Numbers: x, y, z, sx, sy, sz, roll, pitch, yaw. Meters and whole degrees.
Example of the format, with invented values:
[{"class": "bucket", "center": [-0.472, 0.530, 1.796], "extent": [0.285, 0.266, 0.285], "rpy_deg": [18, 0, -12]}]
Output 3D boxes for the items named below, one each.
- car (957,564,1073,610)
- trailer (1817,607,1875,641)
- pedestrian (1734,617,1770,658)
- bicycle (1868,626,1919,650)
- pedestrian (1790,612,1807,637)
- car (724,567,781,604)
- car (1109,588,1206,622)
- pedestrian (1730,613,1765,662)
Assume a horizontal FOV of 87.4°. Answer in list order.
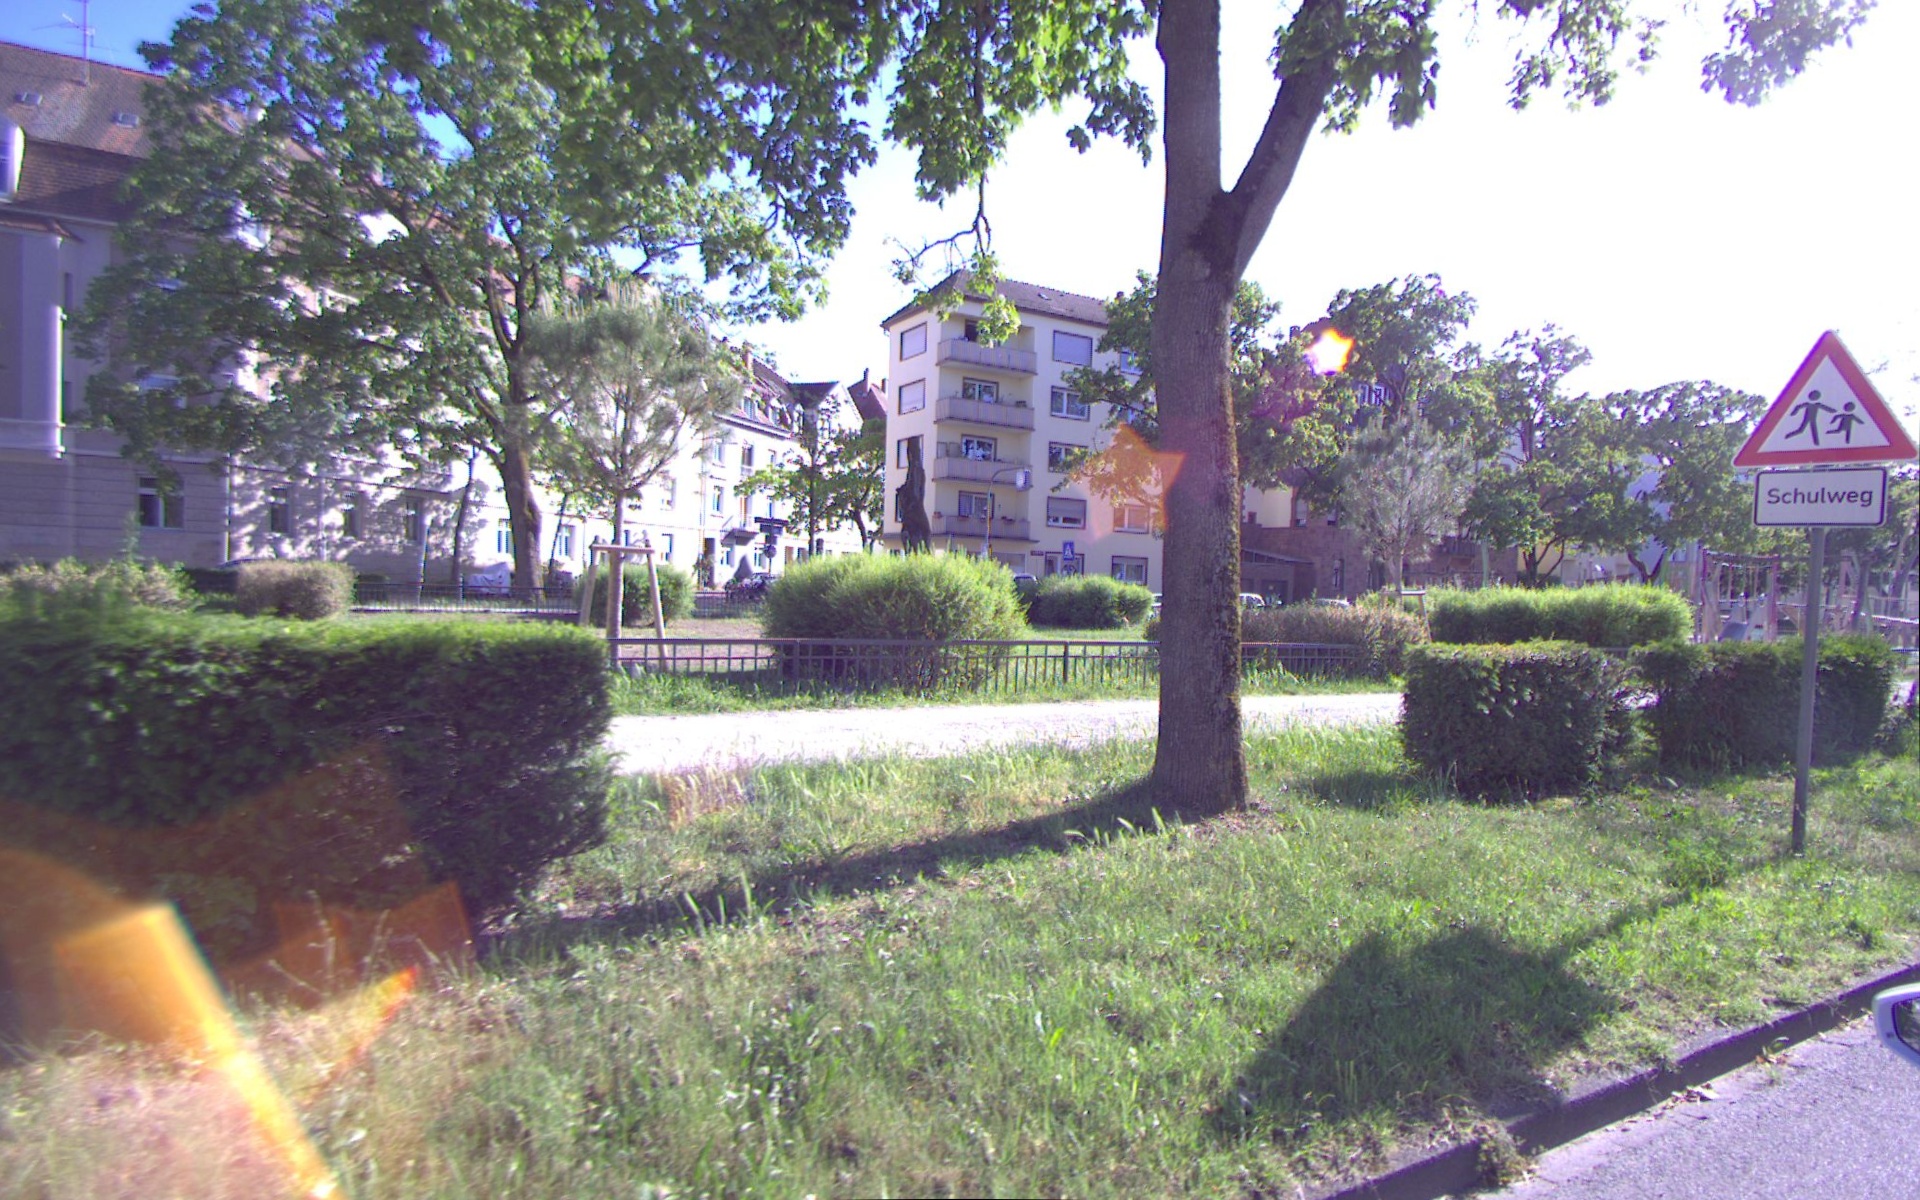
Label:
[{"class": "car", "center": [2.294, -0.536, 41.603], "extent": [4.533, 1.657, 1.785], "rpy_deg": [2, 2, -30]}, {"class": "trailer", "center": [82.937, 2.232, 94.015], "extent": [5.736, 2.909, 2.331], "rpy_deg": [2, 2, -31]}, {"class": "pedestrian", "center": [27.145, 1.285, 34.449], "extent": [0.639, 1.347, 0.648], "rpy_deg": [2, 2, -12]}, {"class": "bicycle", "center": [47.361, 1.922, 50.970], "extent": [0.494, 1.122, 1.785], "rpy_deg": [1, 2, -31]}, {"class": "pedestrian", "center": [57.271, 1.670, 68.599], "extent": [0.642, 1.683, 0.645], "rpy_deg": [2, 1, -30]}, {"class": "car", "center": [-9.723, -0.711, 46.912], "extent": [1.775, 1.530, 3.976], "rpy_deg": [2, 2, -23]}, {"class": "car", "center": [9.993, 0.257, 50.659], "extent": [4.710, 1.530, 1.896], "rpy_deg": [2, 2, -31]}, {"class": "pedestrian", "center": [28.011, 1.343, 35.740], "extent": [0.639, 1.683, 0.648], "rpy_deg": [2, 2, -12]}]
